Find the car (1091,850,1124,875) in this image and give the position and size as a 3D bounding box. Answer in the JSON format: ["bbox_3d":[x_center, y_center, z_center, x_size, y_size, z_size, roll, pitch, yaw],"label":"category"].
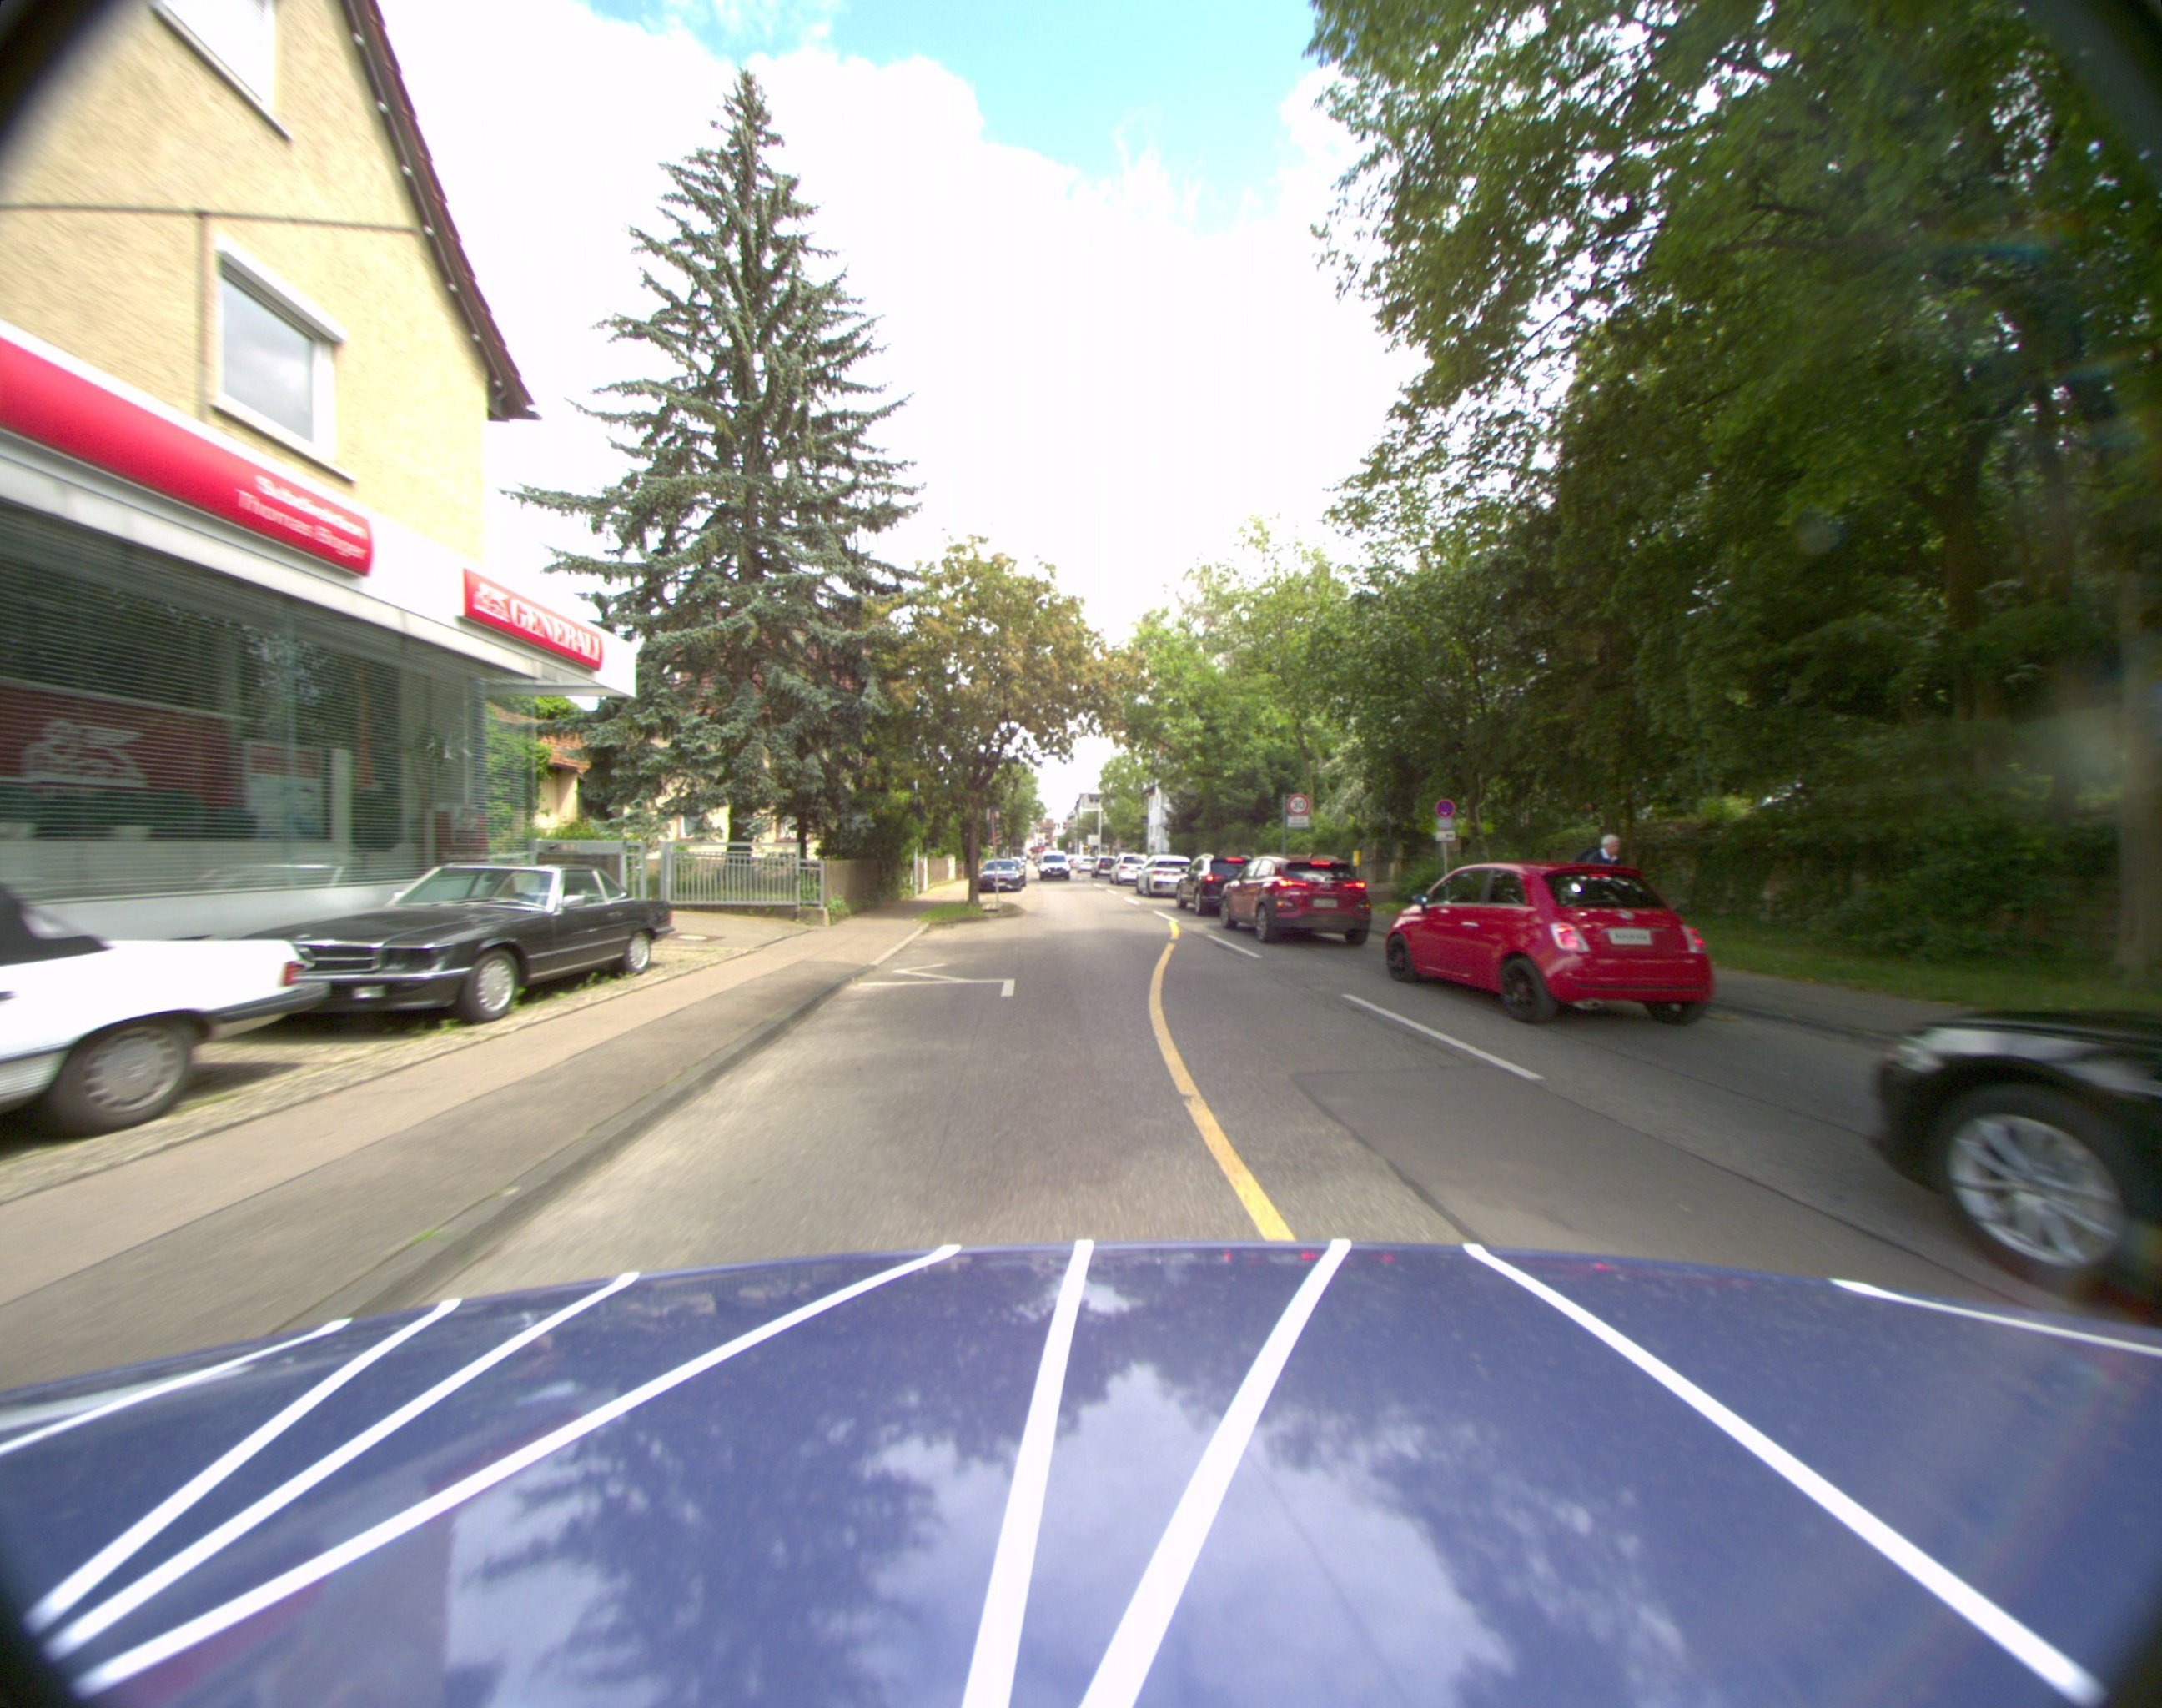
[{"bbox_3d":[1.803,0.554,52.296,1.762,1.581,4.160,2,1,-4],"label":"car"}]

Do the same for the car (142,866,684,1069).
[{"bbox_3d":[-5.772,0.836,7.475,1.790,1.276,4.314,1,1,-5],"label":"car"}]

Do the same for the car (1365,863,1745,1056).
[{"bbox_3d":[4.605,0.905,8.078,1.619,1.514,3.568,1,0,-3],"label":"car"}]

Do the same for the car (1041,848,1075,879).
[{"bbox_3d":[-1.494,0.545,47.865,1.966,1.796,4.426,-2,1,-4],"label":"car"}]

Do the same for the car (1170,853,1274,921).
[{"bbox_3d":[3.641,0.800,20.299,1.762,1.581,3.967,1,1,-4],"label":"car"}]

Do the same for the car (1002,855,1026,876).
[{"bbox_3d":[-5.163,0.843,58.829,1.768,1.483,3.576,-2,1,-4],"label":"car"}]

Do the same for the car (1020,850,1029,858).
[{"bbox_3d":[-9.922,-0.081,134.388,1.535,1.308,3.576,-2,1,-4],"label":"car"}]

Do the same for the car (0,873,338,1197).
[{"bbox_3d":[-5.485,0.820,2.636,1.790,1.309,4.478,1,1,-7],"label":"car"}]

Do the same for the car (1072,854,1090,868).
[{"bbox_3d":[-0.044,0.719,81.422,1.542,1.368,4.160,2,1,-4],"label":"car"}]

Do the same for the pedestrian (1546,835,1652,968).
[{"bbox_3d":[7.500,0.651,11.046,0.835,1.837,1.021,-1,1,-1],"label":"pedestrian"}]

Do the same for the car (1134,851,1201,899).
[{"bbox_3d":[3.175,0.740,28.683,1.762,1.581,4.001,2,1,-4],"label":"car"}]

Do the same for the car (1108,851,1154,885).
[{"bbox_3d":[2.562,0.692,39.929,1.762,1.581,4.160,2,1,-4],"label":"car"}]

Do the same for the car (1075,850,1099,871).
[{"bbox_3d":[0.487,0.529,65.267,1.619,1.581,4.160,2,1,-4],"label":"car"}]

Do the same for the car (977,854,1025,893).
[{"bbox_3d":[-3.476,0.816,33.688,1.939,1.483,4.020,-2,1,-4],"label":"car"}]

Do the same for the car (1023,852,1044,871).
[{"bbox_3d":[-4.324,0.656,68.504,1.768,1.483,3.576,-2,1,-4],"label":"car"}]

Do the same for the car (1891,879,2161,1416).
[{"bbox_3d":[3.934,0.879,0.621,1.823,1.514,4.561,0,1,3],"label":"car"}]

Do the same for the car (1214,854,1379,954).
[{"bbox_3d":[3.872,0.824,14.403,1.781,1.547,4.000,2,1,-3],"label":"car"}]

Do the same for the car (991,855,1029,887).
[{"bbox_3d":[-3.565,0.809,38.504,1.768,1.483,3.858,-2,1,-4],"label":"car"}]
